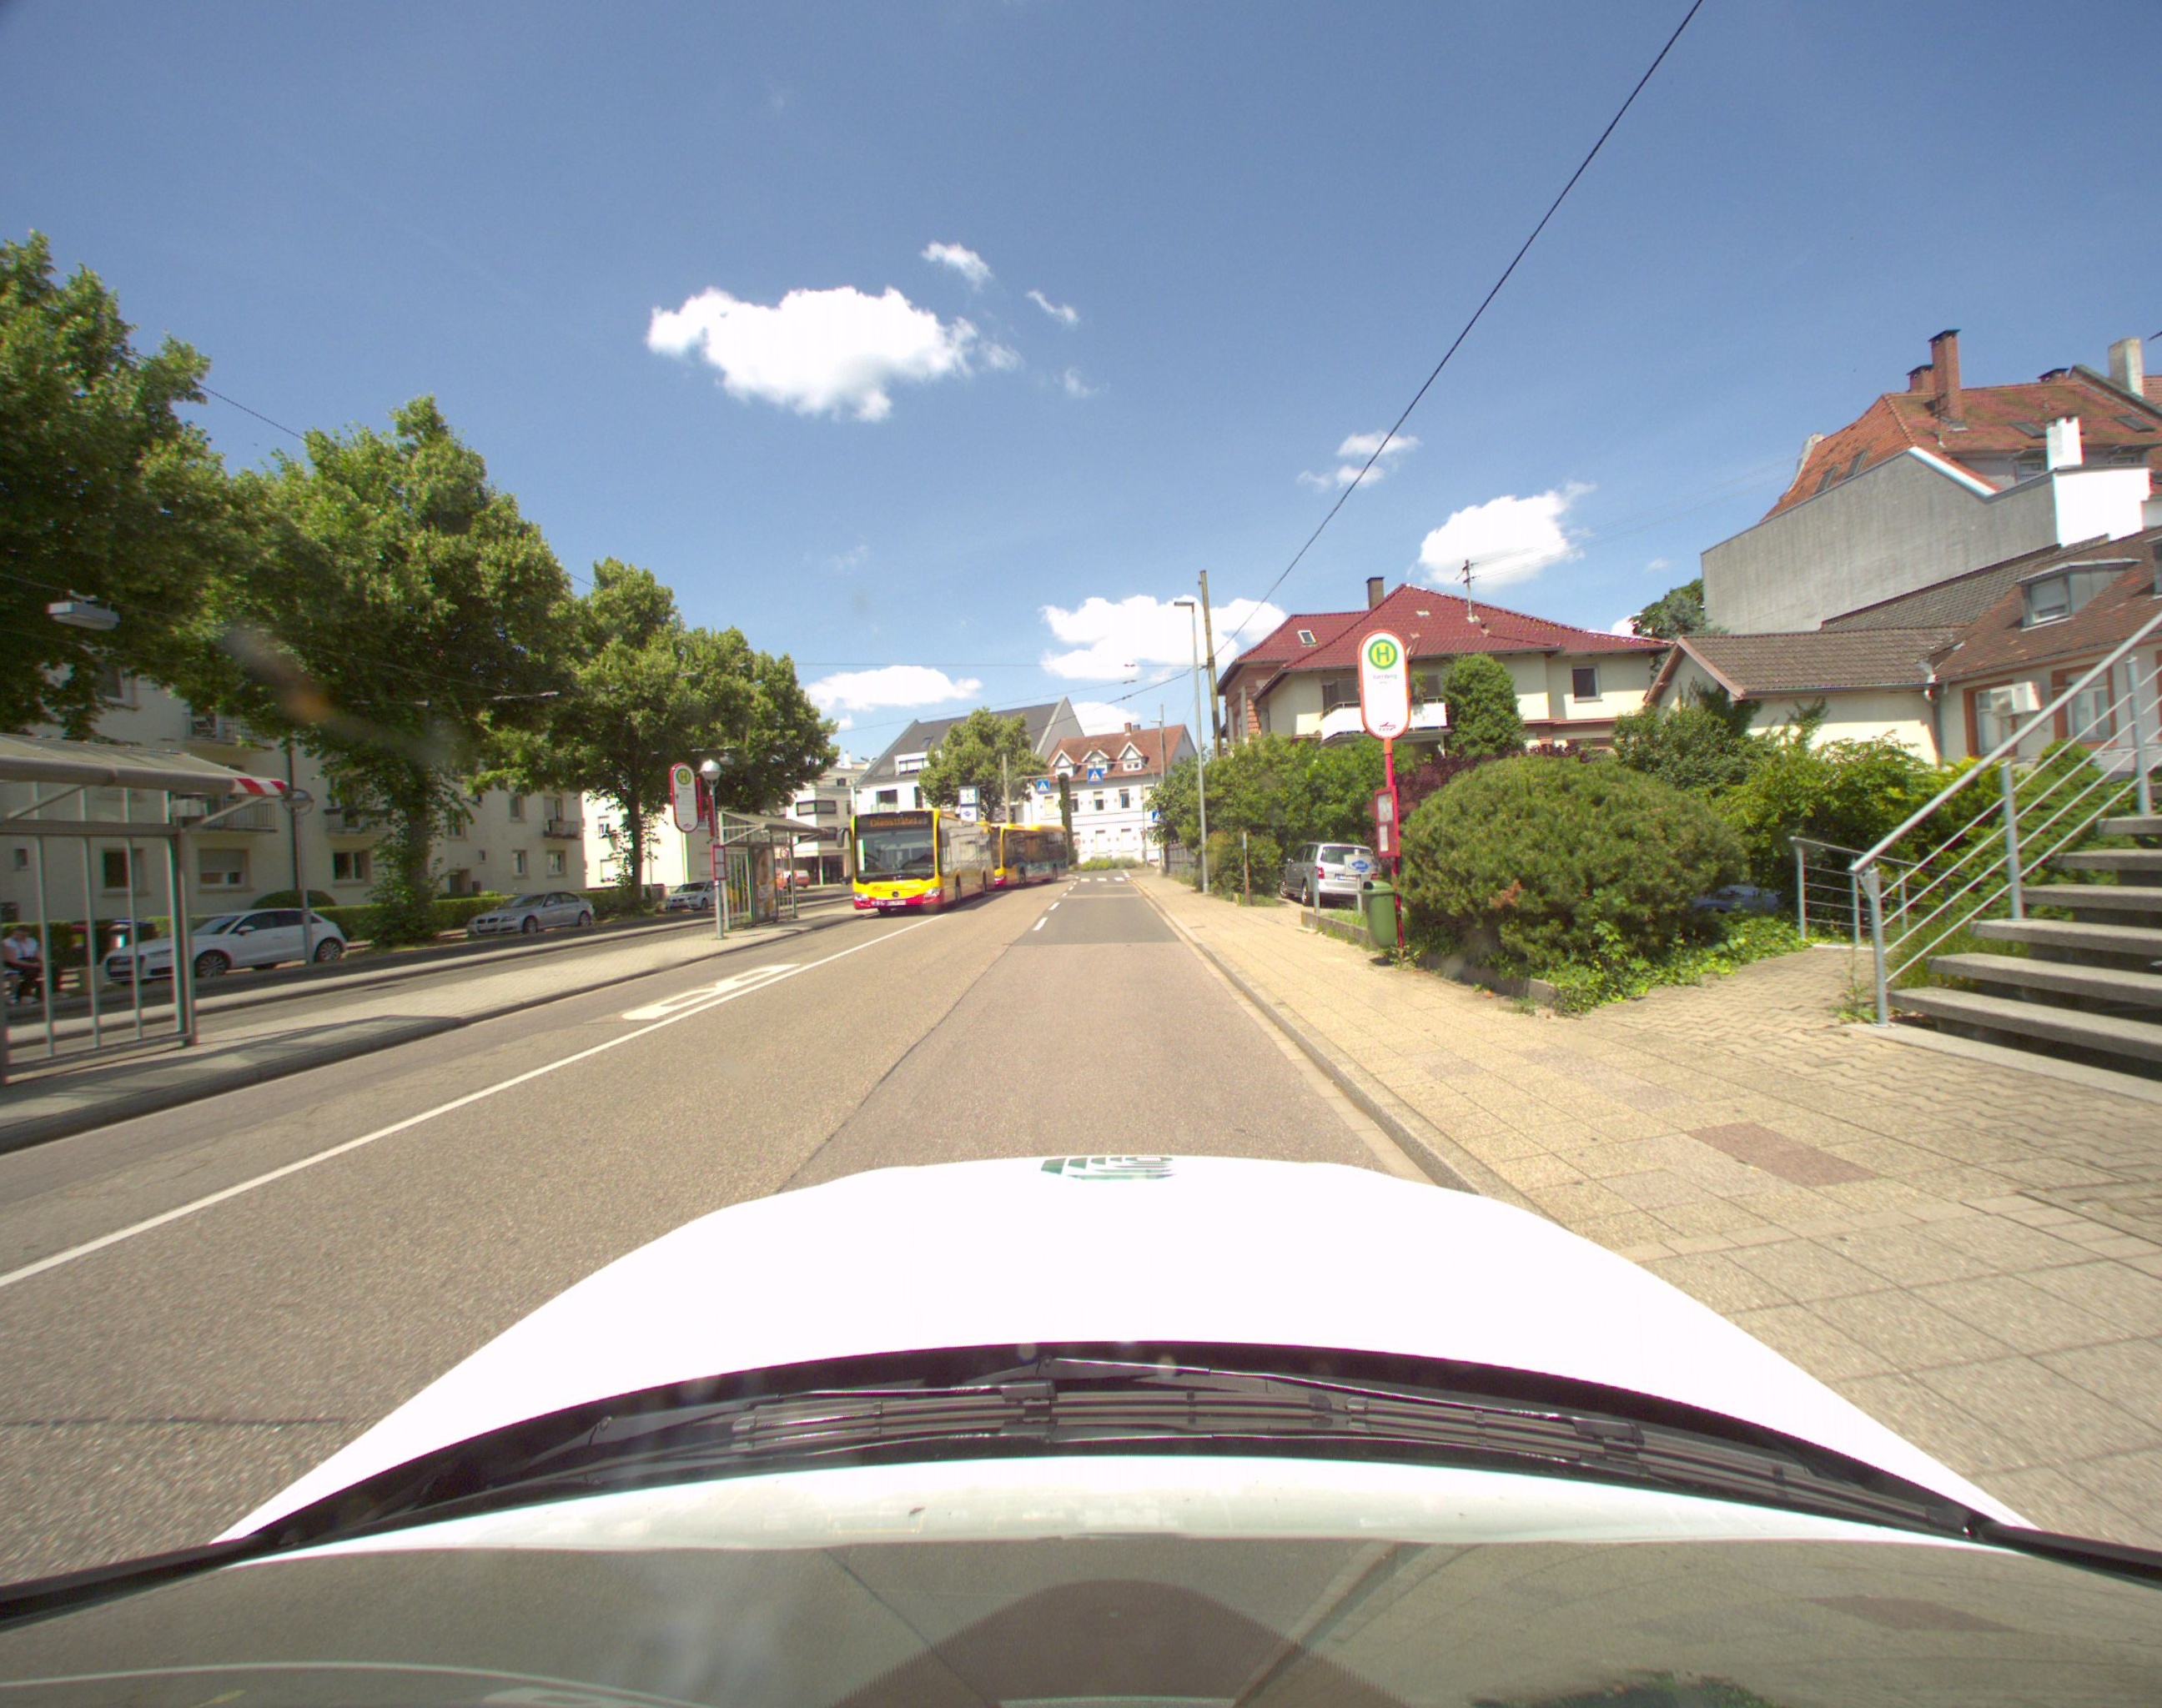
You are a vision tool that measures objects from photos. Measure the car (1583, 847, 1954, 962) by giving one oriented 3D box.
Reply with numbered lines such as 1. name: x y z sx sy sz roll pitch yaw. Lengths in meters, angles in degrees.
1. car: 10.276 0.713 12.429 4.115 1.425 1.723 3 0 3

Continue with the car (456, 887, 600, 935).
1. car: -18.222 1.825 27.118 1.688 1.357 4.401 -2 -2 1

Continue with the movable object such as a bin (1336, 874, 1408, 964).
1. movable object such as a bin: 3.181 0.697 8.944 0.405 0.907 0.729 -7 -2 -2

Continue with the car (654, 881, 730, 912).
1. car: -18.055 1.946 37.981 1.710 1.319 3.996 -1 -2 -2

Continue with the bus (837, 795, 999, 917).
1. bus: -5.050 0.108 28.260 2.897 3.248 12.120 -1 -1 1

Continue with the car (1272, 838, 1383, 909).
1. car: 6.337 0.516 21.420 1.754 1.628 4.000 2 -2 1

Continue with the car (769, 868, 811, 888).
1. car: -30.034 2.473 84.121 3.948 2.014 2.012 -2 -2 30

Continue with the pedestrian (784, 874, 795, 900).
1. pedestrian: -22.931 2.562 64.085 0.688 2.014 0.612 0 -2 -33

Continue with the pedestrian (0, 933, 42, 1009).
1. pedestrian: -17.129 1.856 12.917 0.612 1.138 0.541 -2 -2 4

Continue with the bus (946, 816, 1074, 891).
1. bus: -3.200 -0.107 41.763 2.760 3.208 12.351 -2 1 13

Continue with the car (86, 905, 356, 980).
1. car: -18.470 1.842 17.807 1.562 1.273 4.001 -2 -2 1

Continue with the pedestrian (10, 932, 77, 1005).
1. pedestrian: -17.104 1.875 13.438 0.508 1.138 0.457 -2 -2 4
